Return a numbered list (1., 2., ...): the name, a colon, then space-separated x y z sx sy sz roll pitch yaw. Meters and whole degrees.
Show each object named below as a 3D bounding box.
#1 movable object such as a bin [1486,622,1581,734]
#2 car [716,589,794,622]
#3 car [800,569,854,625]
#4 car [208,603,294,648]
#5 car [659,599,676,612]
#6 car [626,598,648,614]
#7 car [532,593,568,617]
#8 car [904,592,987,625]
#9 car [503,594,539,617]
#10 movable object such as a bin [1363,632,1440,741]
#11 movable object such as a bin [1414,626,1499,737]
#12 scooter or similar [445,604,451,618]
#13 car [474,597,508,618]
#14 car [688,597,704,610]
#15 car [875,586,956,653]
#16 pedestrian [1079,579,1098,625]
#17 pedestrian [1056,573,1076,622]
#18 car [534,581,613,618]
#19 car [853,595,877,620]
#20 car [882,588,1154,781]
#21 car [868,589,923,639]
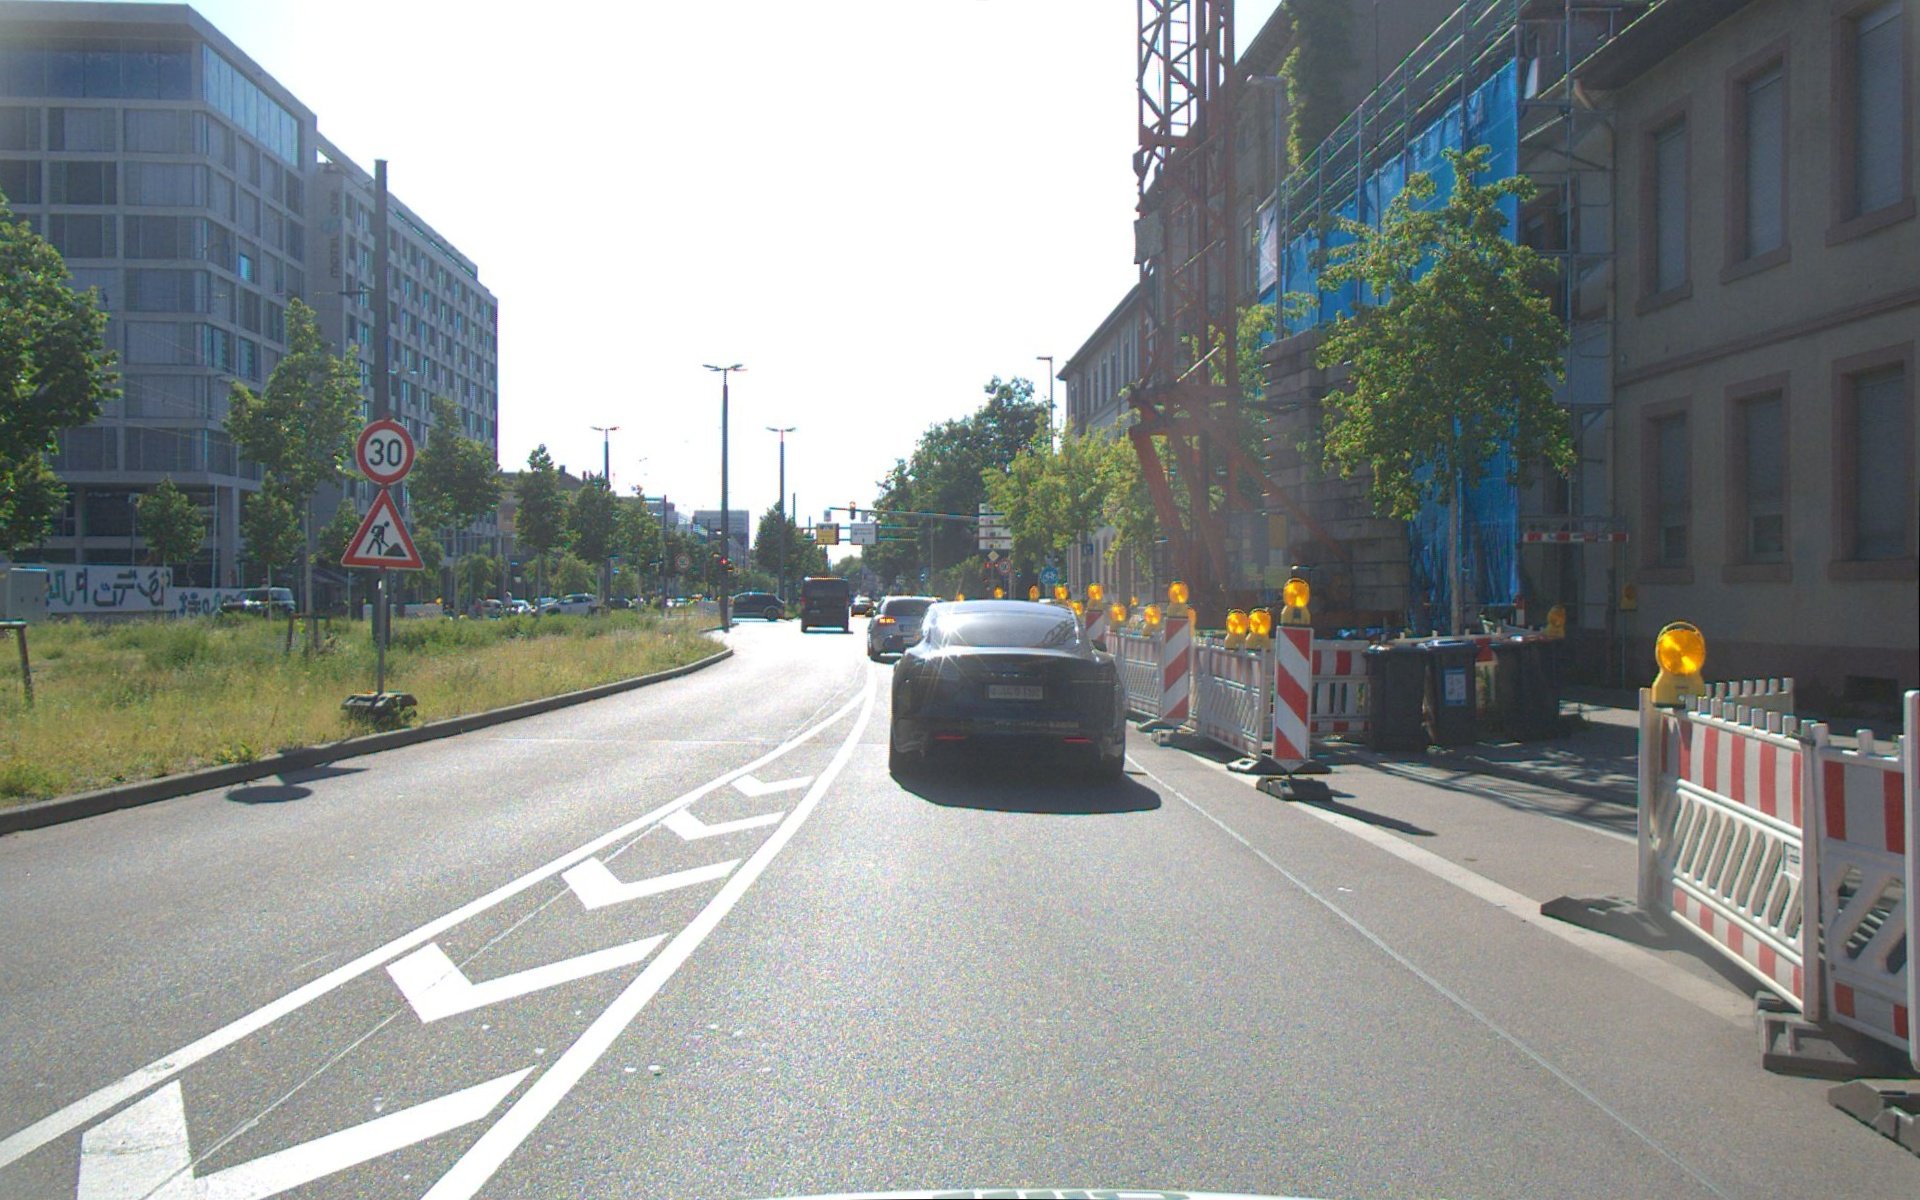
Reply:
1. movable object such as a bin: 5.993 0.801 17.300 0.577 1.076 0.782 -5 1 -8
2. car: -11.863 0.292 95.661 4.427 1.824 1.997 -1 0 -8
3. car: -5.625 -0.154 69.972 2.174 2.307 4.480 1 1 -5
4. car: -32.265 1.127 75.352 1.869 1.952 4.330 -1 0 3
5. car: -39.552 0.784 223.849 1.754 1.680 3.998 -1 0 -3
6. car: -35.942 0.642 184.101 1.754 1.680 3.998 -1 0 -3
7. car: -29.860 0.361 120.452 1.754 1.680 3.998 -1 0 -3
8. car: -0.808 0.513 95.899 4.416 1.824 2.002 -1 0 15
9. car: -32.473 0.391 122.519 1.754 1.680 3.998 -1 0 -3
10. movable object such as a bin: 4.558 0.880 17.098 0.576 1.076 0.730 0 0 -3
11. movable object such as a bin: 5.200 0.838 17.353 0.583 1.076 0.730 -4 1 -3
12. scooter or similar: -35.259 0.753 113.928 0.224 0.964 0.767 -1 0 -3
13. car: -38.578 0.614 136.126 1.754 1.680 3.998 -1 0 -3
14. car: -36.621 0.469 229.767 1.772 1.680 3.998 -1 0 -3
15. car: -1.096 0.414 38.402 1.713 1.452 4.835 0 0 -4
16. pedestrian: 5.231 0.072 67.293 0.552 1.852 0.587 -4 0 -4
17. pedestrian: 4.301 -0.101 67.239 0.645 1.946 0.587 -4 0 -4
18. car: -21.489 -0.049 92.015 3.927 1.952 1.898 -1 0 -28
19. car: -7.523 0.582 130.315 1.757 1.906 3.846 1 0 -5
20. car: 0.346 0.639 14.987 2.011 1.469 4.521 1 0 -4
21. car: -2.125 0.422 53.929 1.715 1.554 4.002 0 0 -3
